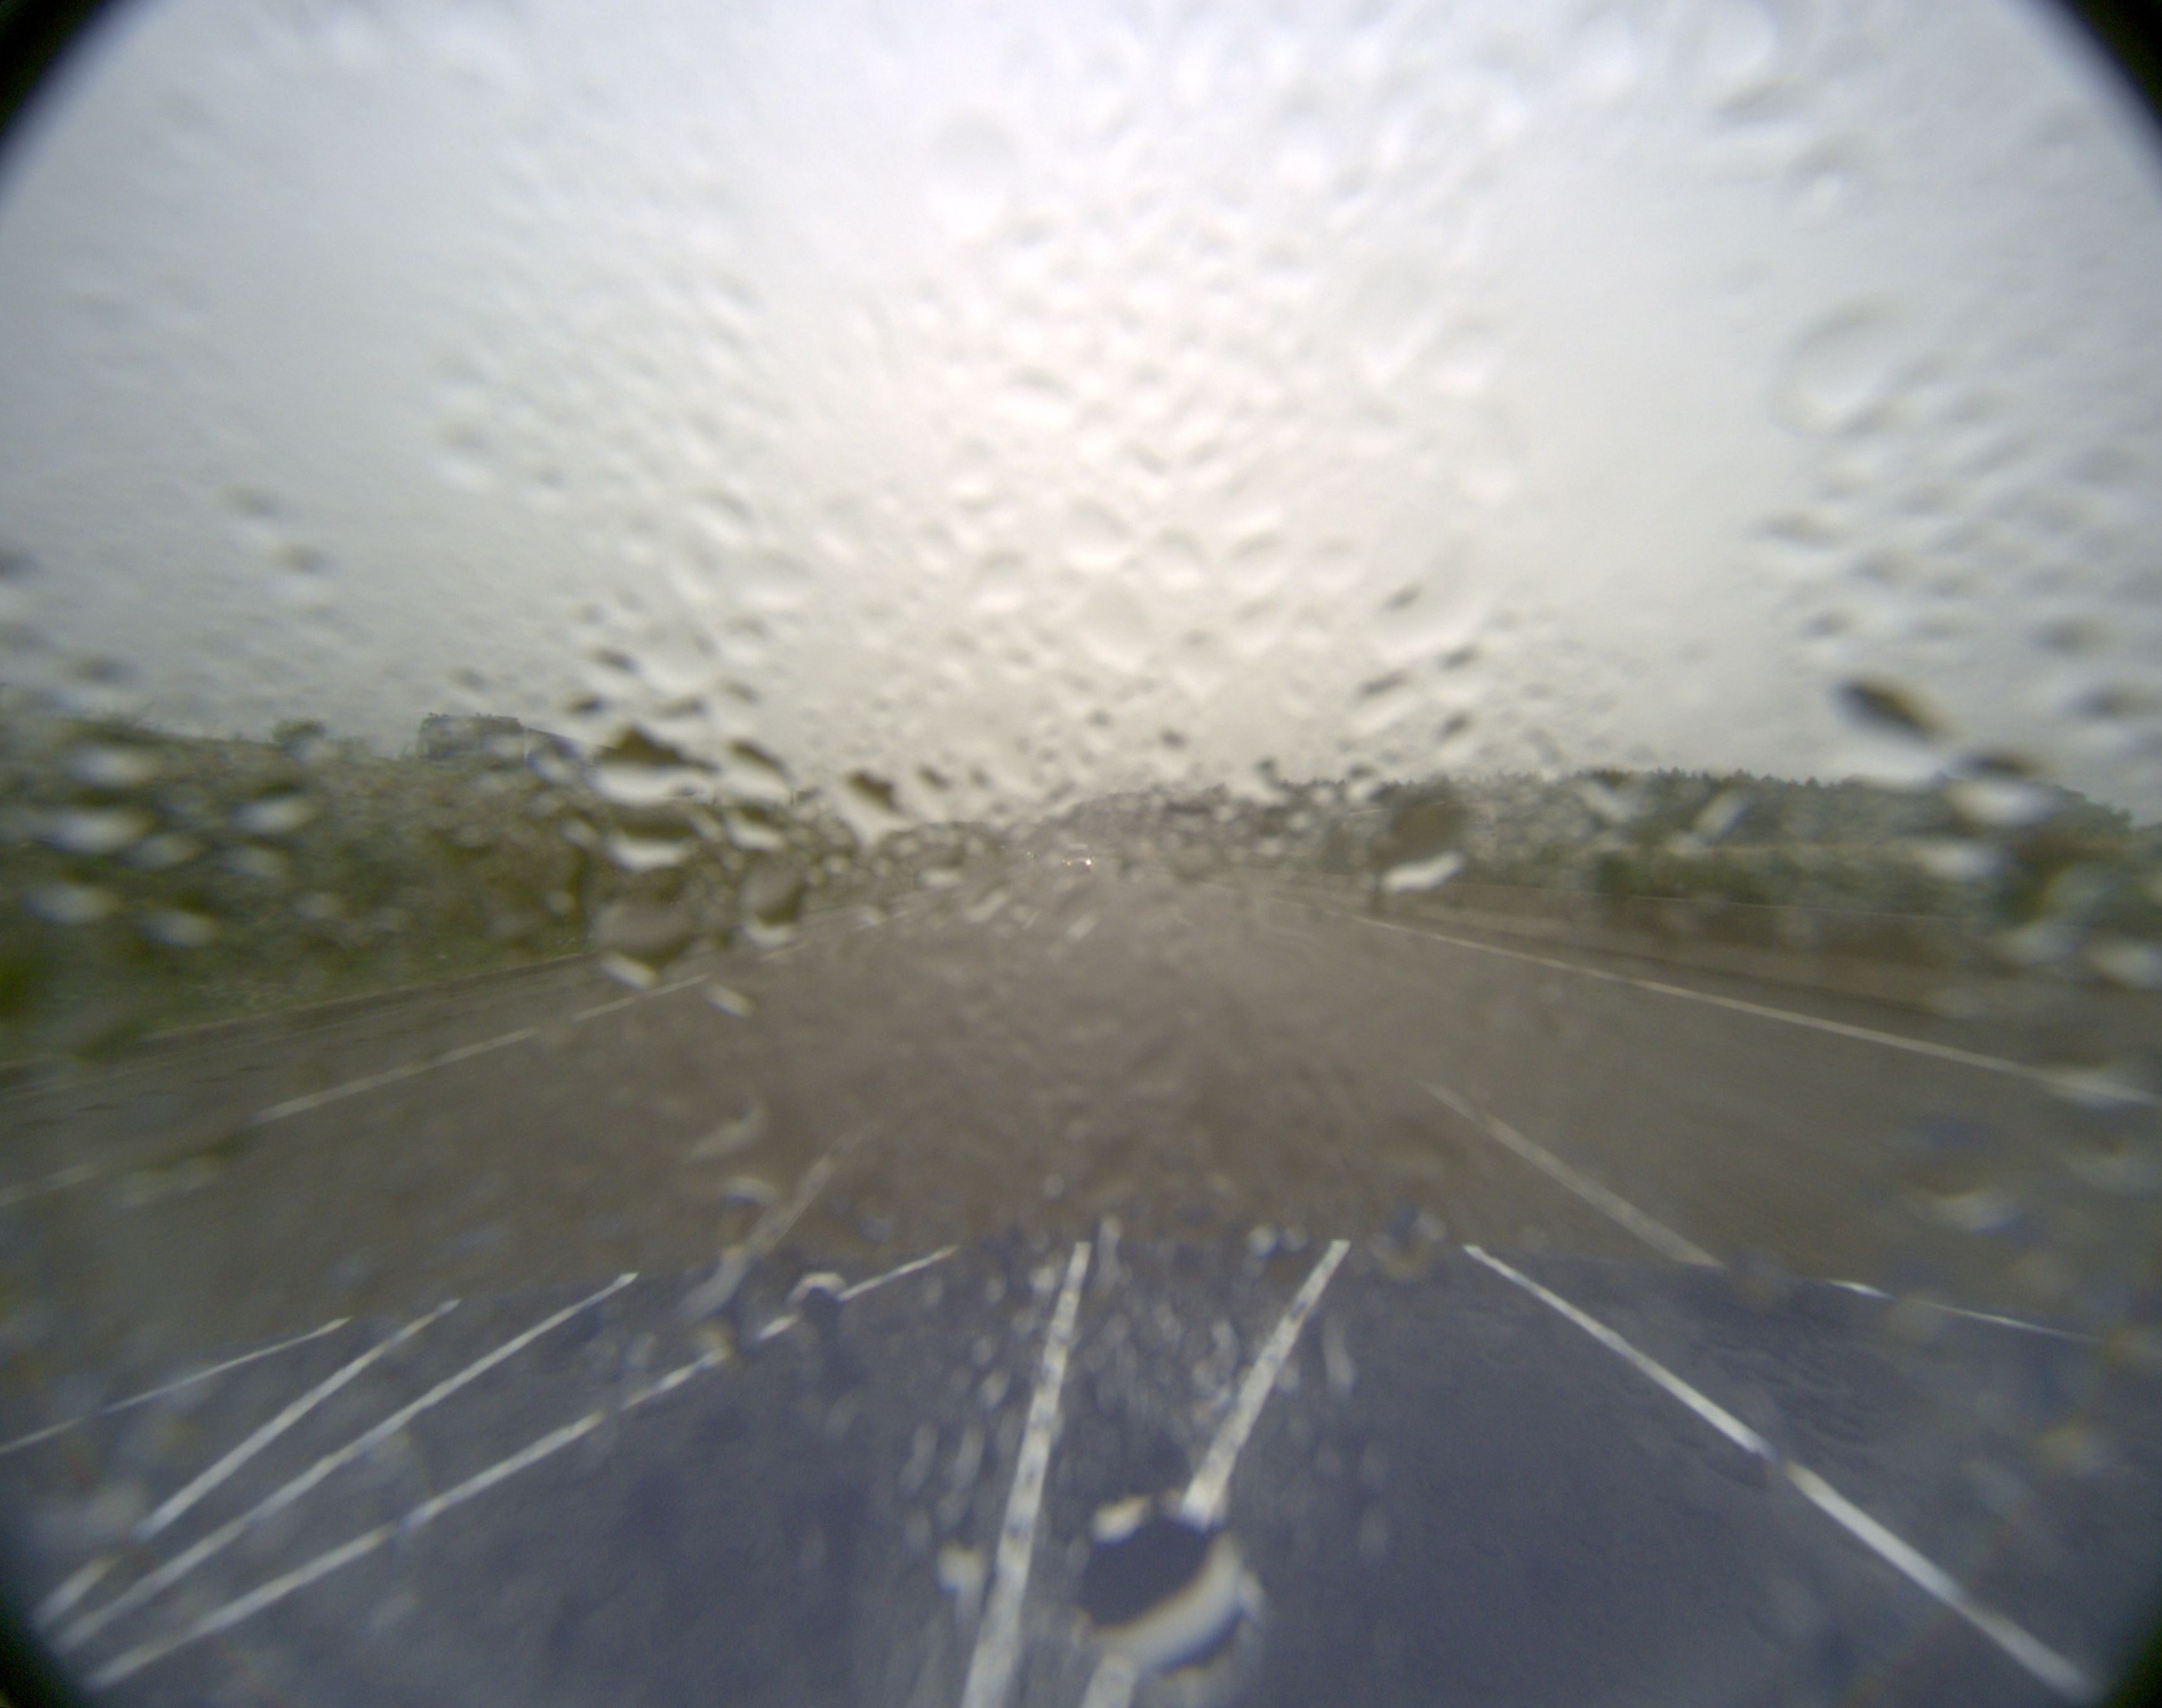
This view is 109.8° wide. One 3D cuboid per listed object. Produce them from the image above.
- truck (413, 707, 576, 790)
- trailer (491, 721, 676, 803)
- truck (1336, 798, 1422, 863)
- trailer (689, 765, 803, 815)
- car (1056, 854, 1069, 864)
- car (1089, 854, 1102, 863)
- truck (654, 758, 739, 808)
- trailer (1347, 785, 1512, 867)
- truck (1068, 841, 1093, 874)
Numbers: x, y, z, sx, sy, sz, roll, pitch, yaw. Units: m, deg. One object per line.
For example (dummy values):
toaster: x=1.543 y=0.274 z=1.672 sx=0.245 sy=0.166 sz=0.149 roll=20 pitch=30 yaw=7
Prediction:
truck: x=-22.942 y=-4.032 z=30.074 sx=2.371 sy=2.589 sz=5.062 roll=-2 pitch=1 yaw=0
trailer: x=-22.859 y=-4.072 z=35.769 sx=2.302 sy=2.740 sz=9.404 roll=-2 pitch=1 yaw=1
truck: x=19.887 y=-1.528 z=51.198 sx=3.335 sy=4.003 sz=5.973 roll=-2 pitch=1 yaw=0
trailer: x=-23.304 y=-4.322 z=53.982 sx=2.388 sy=2.589 sz=12.961 roll=-2 pitch=1 yaw=0
car: x=-2.833 y=0.789 z=116.372 sx=1.999 sy=1.521 sz=4.000 roll=-1 pitch=0 yaw=-1
car: x=2.487 y=0.790 z=130.886 sx=1.999 sy=1.608 sz=3.999 roll=-1 pitch=0 yaw=-2
truck: x=-23.286 y=-4.238 z=46.308 sx=2.430 sy=2.553 sz=5.079 roll=-2 pitch=1 yaw=0
trailer: x=19.854 y=-1.434 z=44.905 sx=3.394 sy=3.995 sz=13.887 roll=-2 pitch=0 yaw=0
truck: x=-0.119 y=0.256 z=67.008 sx=1.999 sy=2.699 sz=7.998 roll=-2 pitch=1 yaw=-1
